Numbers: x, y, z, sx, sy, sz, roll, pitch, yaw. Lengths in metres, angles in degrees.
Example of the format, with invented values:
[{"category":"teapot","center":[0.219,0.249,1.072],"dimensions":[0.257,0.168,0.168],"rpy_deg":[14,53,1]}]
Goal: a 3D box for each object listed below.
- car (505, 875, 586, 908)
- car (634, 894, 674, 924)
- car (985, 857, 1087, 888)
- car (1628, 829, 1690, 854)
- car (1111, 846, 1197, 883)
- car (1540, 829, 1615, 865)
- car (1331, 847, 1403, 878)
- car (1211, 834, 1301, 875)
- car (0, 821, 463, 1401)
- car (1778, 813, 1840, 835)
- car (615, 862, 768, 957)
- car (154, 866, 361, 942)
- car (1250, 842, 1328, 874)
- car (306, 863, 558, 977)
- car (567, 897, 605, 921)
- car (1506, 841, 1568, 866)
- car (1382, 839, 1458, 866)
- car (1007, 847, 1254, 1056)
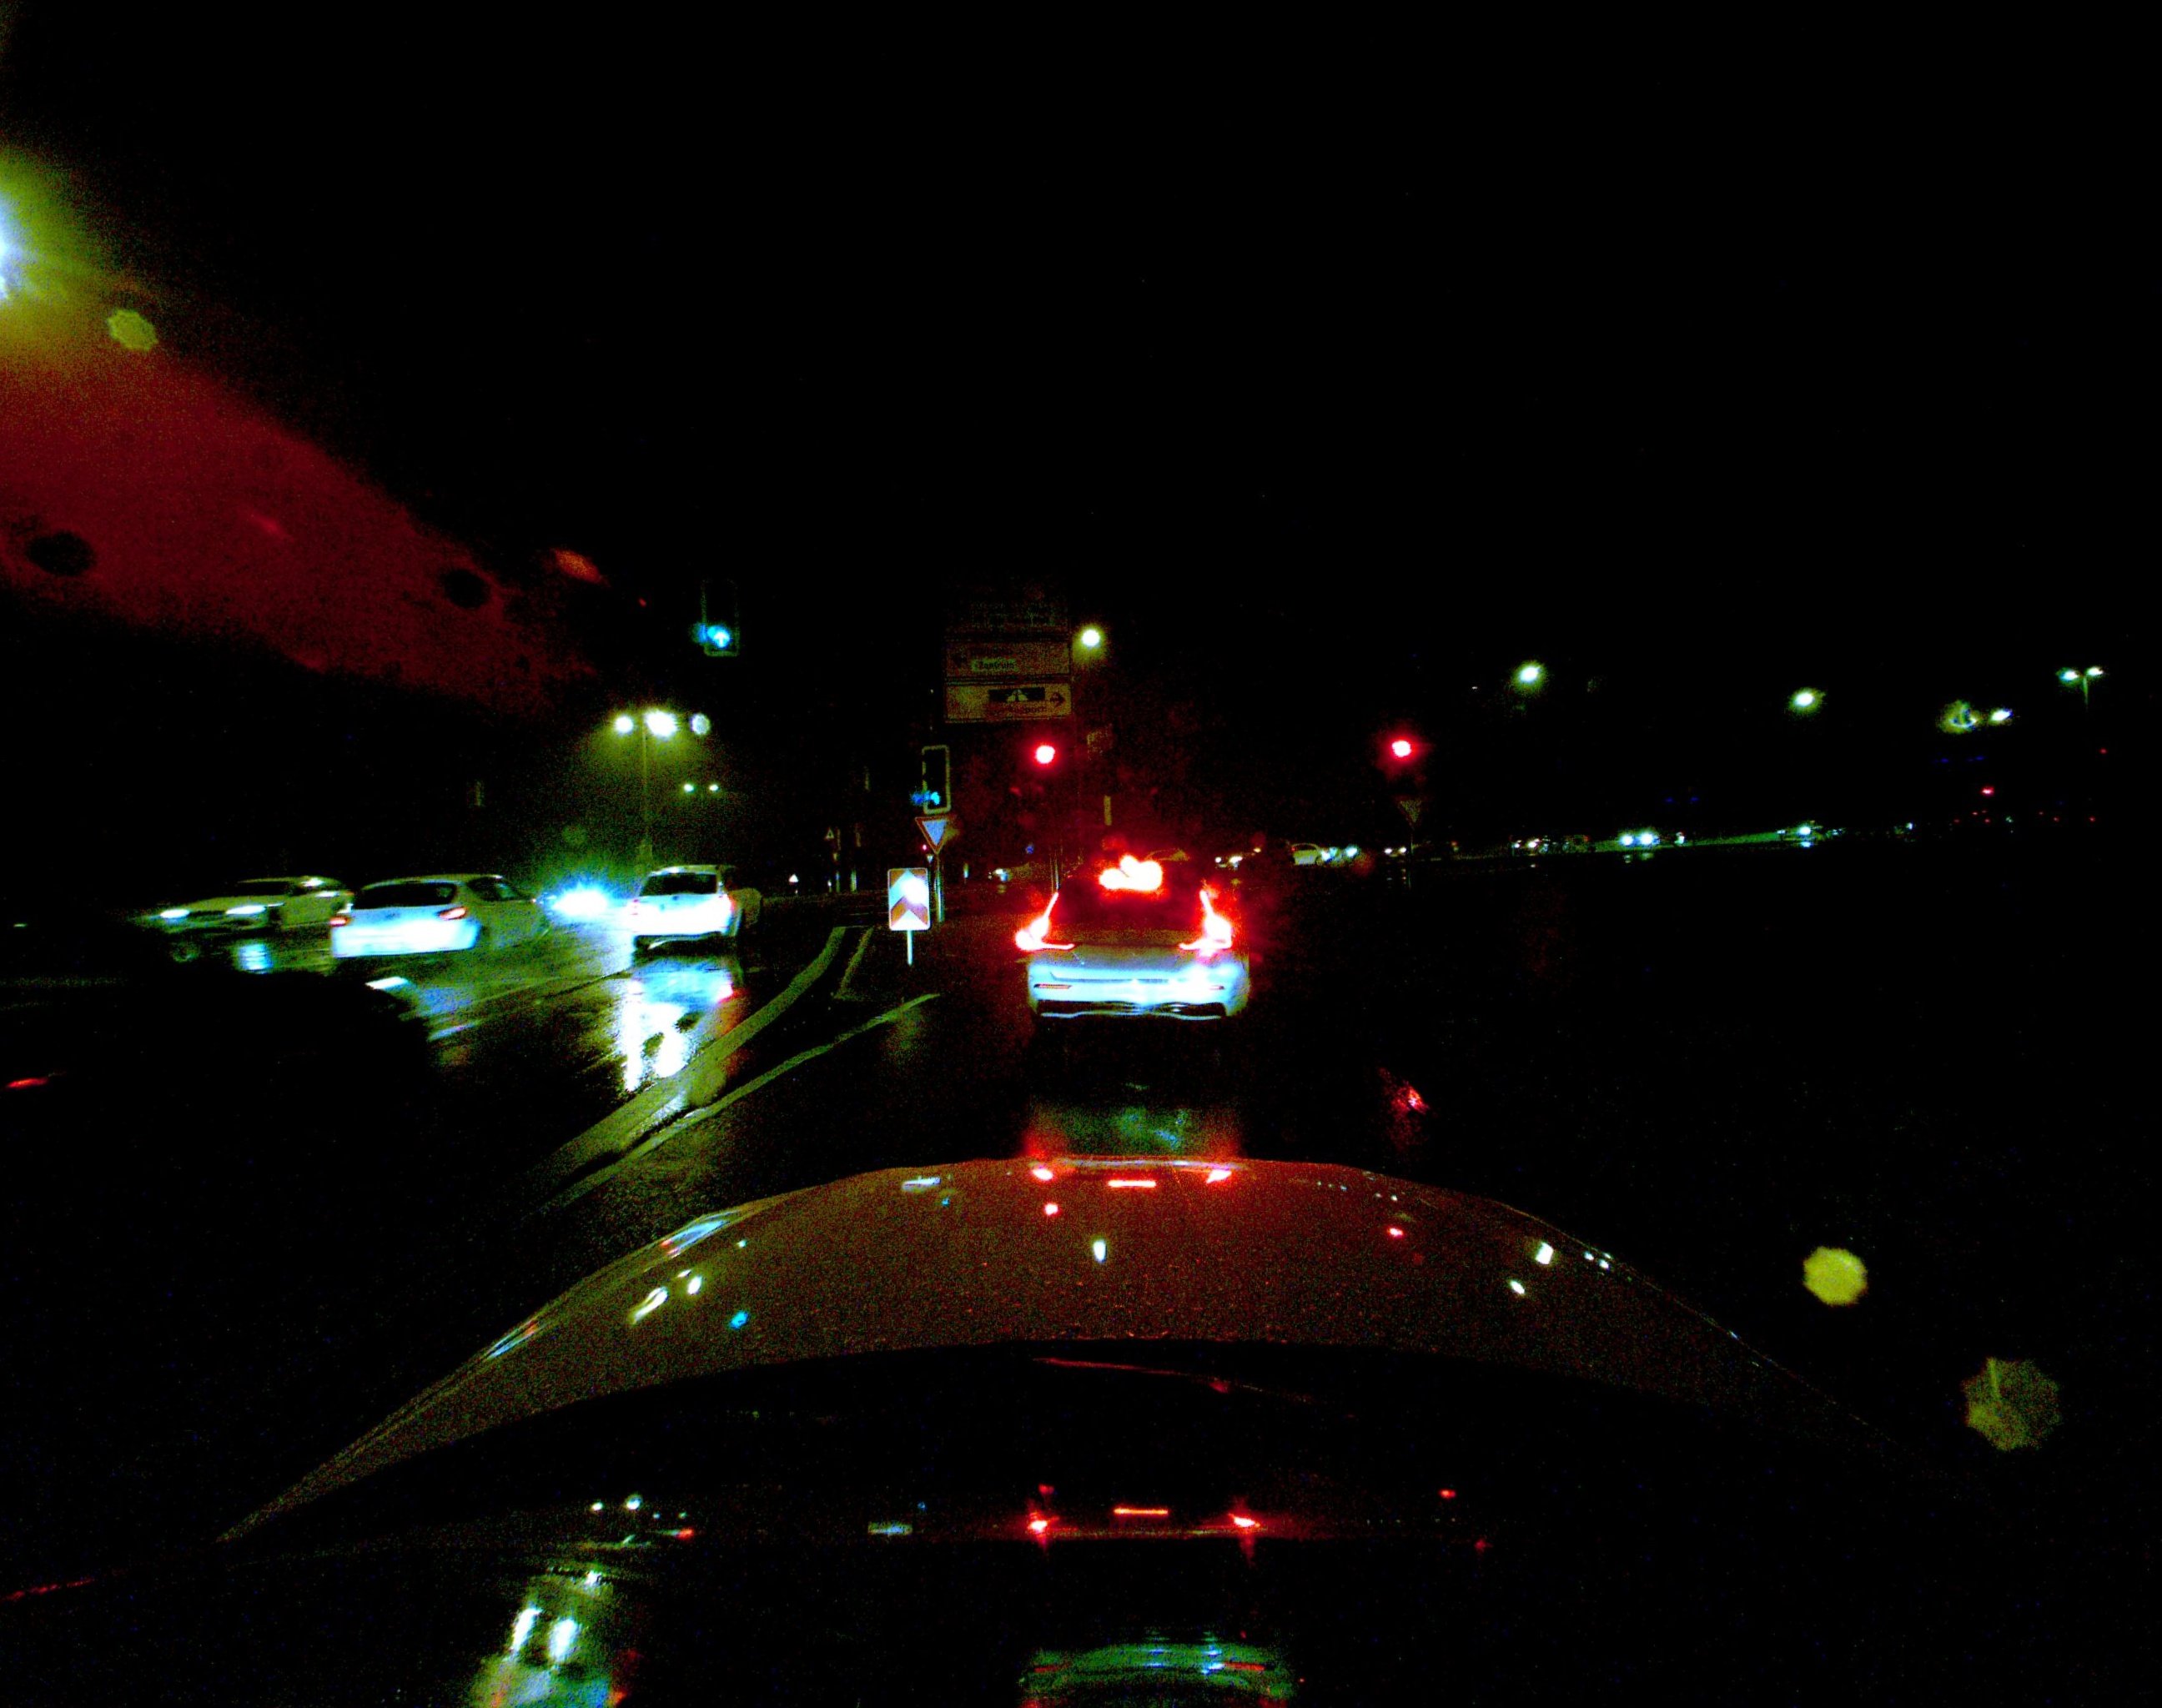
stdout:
[{"category":"car","center":[-27.148,1.863,41.496],"dimensions":[1.929,1.463,4.766],"rpy_deg":[-1,0,-14]},{"category":"car","center":[-32.316,4.139,61.762],"dimensions":[1.816,2.014,3.980],"rpy_deg":[-1,-1,-15]},{"category":"car","center":[-2.254,0.930,40.933],"dimensions":[4.810,1.427,1.751],"rpy_deg":[-1,-1,-24]},{"category":"car","center":[40.478,-0.888,57.000],"dimensions":[3.983,1.666,1.789],"rpy_deg":[-1,-1,-25]},{"category":"car","center":[3.945,0.547,43.784],"dimensions":[4.292,1.848,1.751],"rpy_deg":[-1,-1,-25]},{"category":"car","center":[39.239,-0.574,64.309],"dimensions":[5.617,2.710,2.238],"rpy_deg":[-1,-1,-24]},{"category":"car","center":[17.702,0.499,50.387],"dimensions":[4.131,1.848,1.751],"rpy_deg":[-1,-1,-25]},{"category":"car","center":[8.329,0.004,38.754],"dimensions":[3.906,1.725,1.752],"rpy_deg":[-2,0,-23]},{"category":"car","center":[-3.998,0.775,2.061],"dimensions":[1.827,1.653,4.468],"rpy_deg":[-3,1,-8]},{"category":"car","center":[54.973,-2.291,61.499],"dimensions":[4.416,1.484,1.769],"rpy_deg":[-2,0,-23]},{"category":"car","center":[-7.084,0.925,15.256],"dimensions":[1.701,1.463,4.294],"rpy_deg":[-2,-1,-14]},{"category":"car","center":[-21.934,1.244,21.993],"dimensions":[1.905,1.720,4.435],"rpy_deg":[-3,0,-16]},{"category":"car","center":[12.218,0.218,47.863],"dimensions":[4.257,1.799,1.789],"rpy_deg":[-1,-1,-25]},{"category":"car","center":[-9.856,0.910,12.761],"dimensions":[1.658,1.445,3.772],"rpy_deg":[-2,-1,-15]},{"category":"car","center":[-41.557,4.590,68.440],"dimensions":[1.774,1.772,3.976],"rpy_deg":[-1,-1,-17]},{"category":"car","center":[32.696,-0.039,58.372],"dimensions":[4.131,1.714,1.751],"rpy_deg":[-1,-1,-25]},{"category":"car","center":[19.675,-0.078,47.288],"dimensions":[4.060,1.487,1.706],"rpy_deg":[-1,-1,-21]},{"category":"car","center":[0.765,0.694,8.043],"dimensions":[1.784,1.452,4.283],"rpy_deg":[-1,1,11]}]
